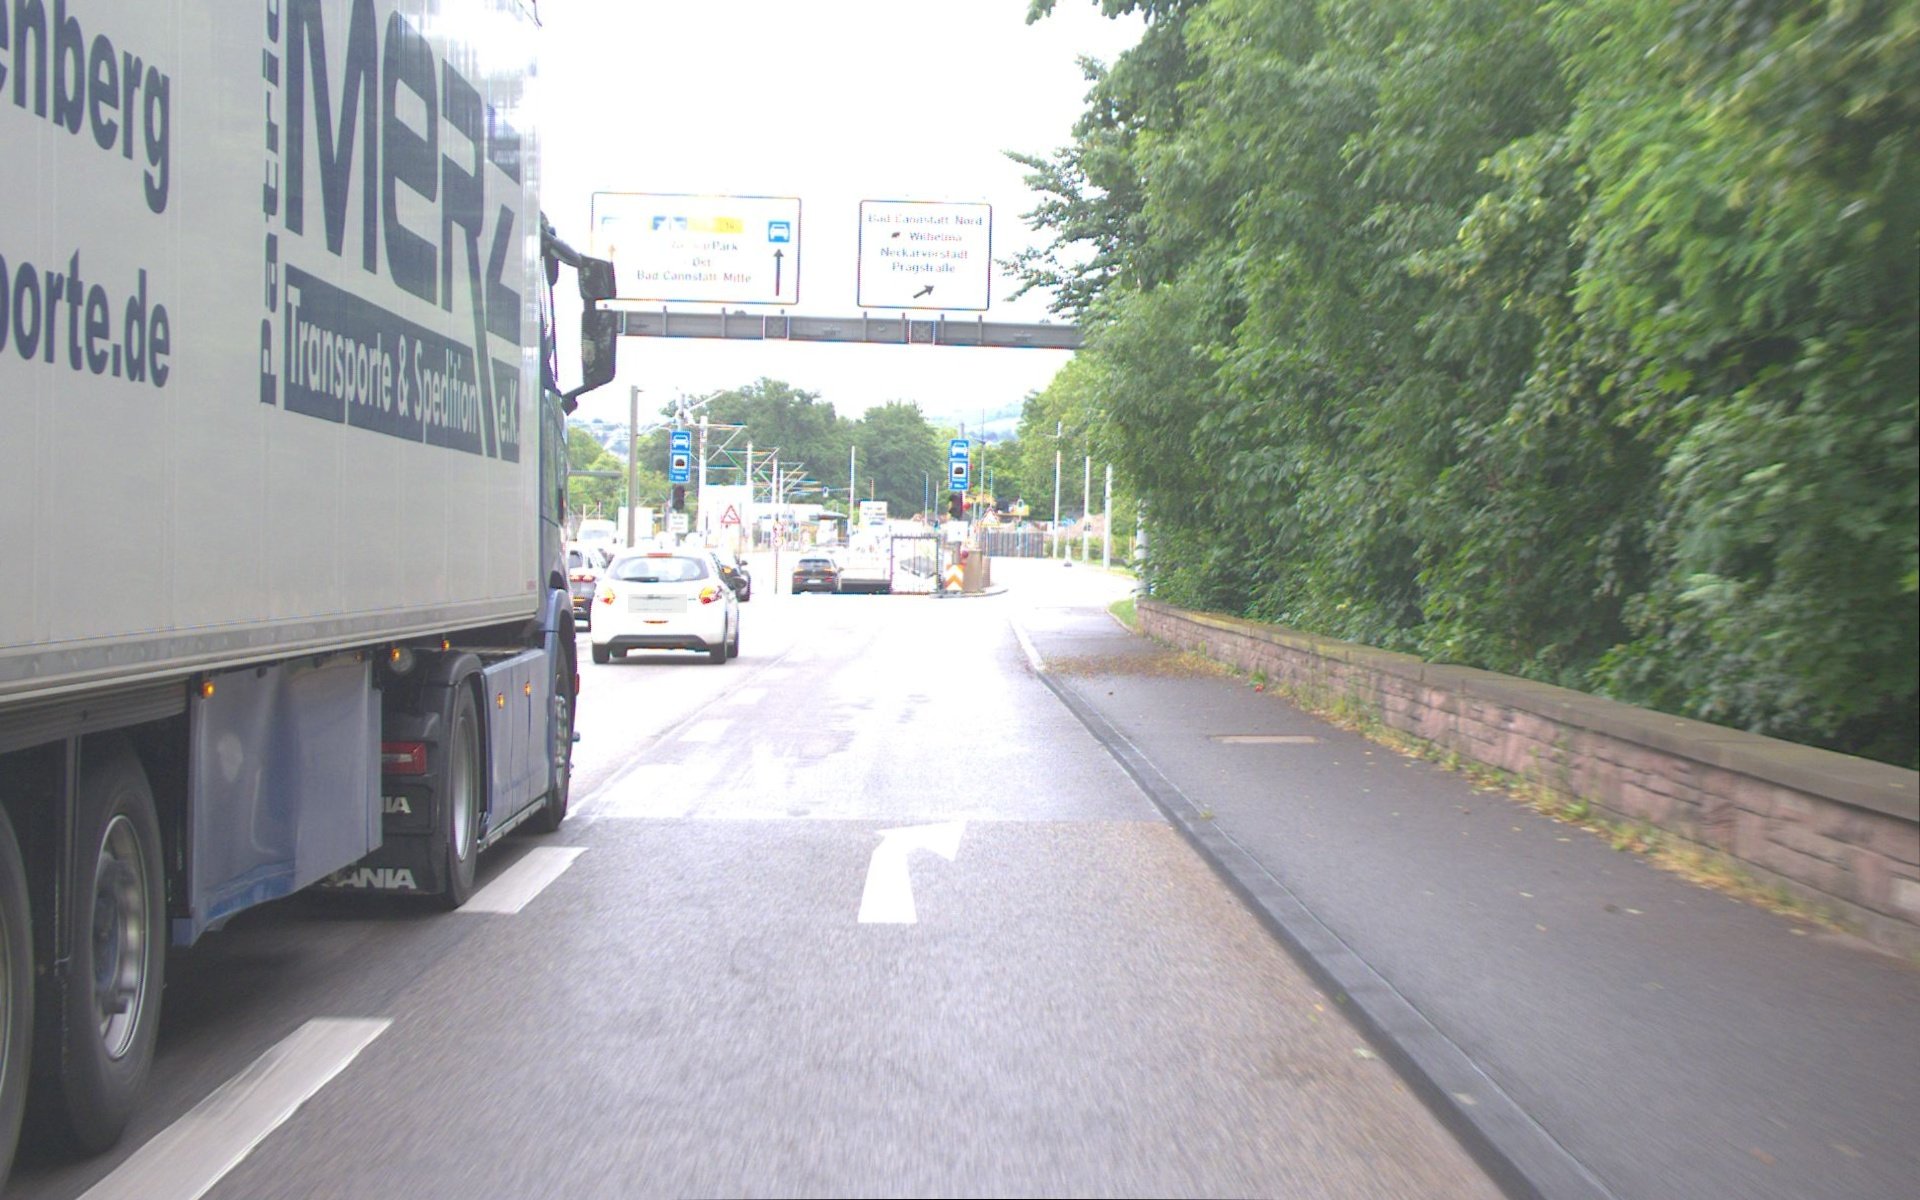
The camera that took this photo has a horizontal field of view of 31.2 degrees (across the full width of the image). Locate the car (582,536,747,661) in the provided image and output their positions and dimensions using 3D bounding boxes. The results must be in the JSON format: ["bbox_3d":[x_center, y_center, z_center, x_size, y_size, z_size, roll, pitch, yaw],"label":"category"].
[{"bbox_3d":[-3.752,-0.058,44.224,1.810,1.419,4.001,1,2,-1],"label":"car"}]

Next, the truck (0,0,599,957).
[{"bbox_3d":[-3.336,-0.843,15.763,2.756,4.190,6.307,0,1,-1],"label":"truck"}]

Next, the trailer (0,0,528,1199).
[{"bbox_3d":[-3.288,-0.717,9.014,2.762,4.238,13.184,0,1,-1],"label":"trailer"}]

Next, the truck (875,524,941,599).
[{"bbox_3d":[-2.815,-2.107,189.063,3.518,4.026,8.074,1,0,0],"label":"truck"}]

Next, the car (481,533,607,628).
[{"bbox_3d":[-7.026,-0.355,58.338,1.681,1.441,4.001,1,2,-1],"label":"car"}]

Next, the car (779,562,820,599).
[{"bbox_3d":[-6.046,-0.743,129.440,1.426,1.349,2.960,1,1,-1],"label":"car"}]
